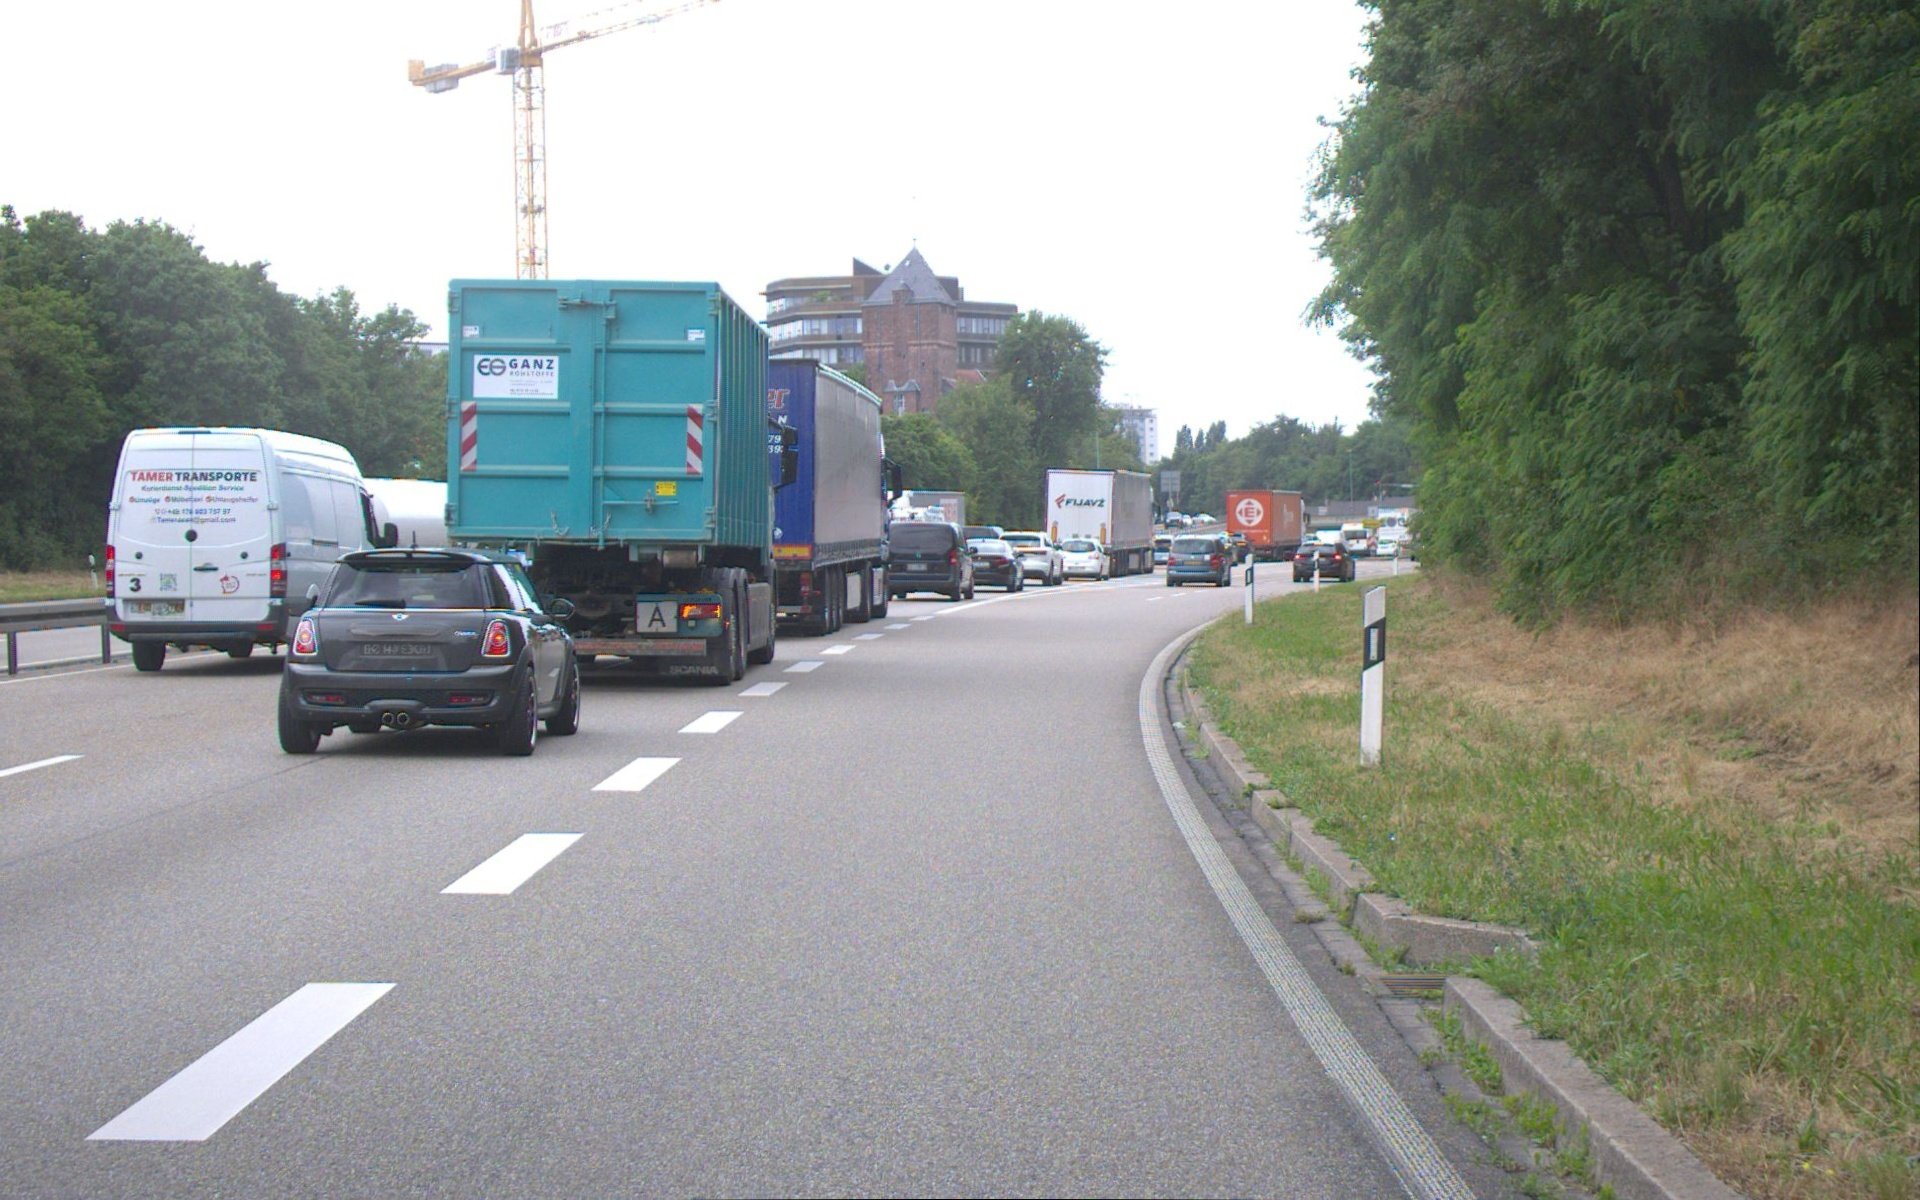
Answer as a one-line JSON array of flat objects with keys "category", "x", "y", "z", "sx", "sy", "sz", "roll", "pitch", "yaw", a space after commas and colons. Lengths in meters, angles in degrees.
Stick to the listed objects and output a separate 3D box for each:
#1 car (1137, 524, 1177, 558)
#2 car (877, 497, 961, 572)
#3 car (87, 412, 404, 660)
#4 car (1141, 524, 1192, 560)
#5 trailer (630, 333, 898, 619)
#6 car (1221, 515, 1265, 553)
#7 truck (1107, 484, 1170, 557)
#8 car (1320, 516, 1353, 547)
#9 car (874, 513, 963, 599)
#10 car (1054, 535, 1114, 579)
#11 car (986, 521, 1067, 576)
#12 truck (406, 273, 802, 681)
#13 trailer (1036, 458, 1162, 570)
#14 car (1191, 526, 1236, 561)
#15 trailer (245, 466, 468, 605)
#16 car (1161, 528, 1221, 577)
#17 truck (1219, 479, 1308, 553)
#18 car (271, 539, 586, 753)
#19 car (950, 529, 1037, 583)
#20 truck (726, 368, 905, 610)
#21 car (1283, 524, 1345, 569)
[{"category": "car", "x": 9.064, "y": -2.703, "z": 157.871, "sx": 1.531, "sy": 1.546, "sz": 3.417, "roll": 0, "pitch": 1, "yaw": 8}, {"category": "car", "x": -1.401, "y": -2.279, "z": 119.467, "sx": 1.994, "sy": 2.544, "sz": 5.360, "roll": 0, "pitch": 1, "yaw": 10}, {"category": "car", "x": -8.070, "y": -0.713, "z": 39.586, "sx": 2.222, "sy": 2.569, "sz": 6.798, "roll": 1, "pitch": 1, "yaw": 0}, {"category": "car", "x": 9.532, "y": -2.668, "z": 158.502, "sx": 1.801, "sy": 1.598, "sz": 4.256, "roll": 1, "pitch": 1, "yaw": 11}, {"category": "trailer", "x": -2.907, "y": -1.840, "z": 55.541, "sx": 2.627, "sy": 4.009, "sz": 13.462, "roll": 1, "pitch": 1, "yaw": 4}, {"category": "car", "x": 15.243, "y": -3.551, "z": 184.805, "sx": 1.994, "sy": 2.007, "sz": 3.999, "roll": 0, "pitch": 1, "yaw": 10}, {"category": "truck", "x": 10.703, "y": -4.681, "z": 205.108, "sx": 2.739, "sy": 4.124, "sz": 10.694, "roll": 1, "pitch": 1, "yaw": 8}, {"category": "car", "x": 24.887, "y": -4.516, "z": 227.035, "sx": 1.615, "sy": 2.007, "sz": 3.998, "roll": 0, "pitch": 1, "yaw": 14}, {"category": "car", "x": -0.986, "y": -1.068, "z": 82.976, "sx": 1.988, "sy": 1.891, "sz": 4.985, "roll": -3, "pitch": 1, "yaw": 0}, {"category": "car", "x": 4.335, "y": -1.502, "z": 119.517, "sx": 1.765, "sy": 1.473, "sz": 4.088, "roll": -1, "pitch": 1, "yaw": 6}, {"category": "car", "x": 2.116, "y": -1.641, "z": 108.267, "sx": 1.957, "sy": 1.689, "sz": 4.864, "roll": 0, "pitch": 1, "yaw": 8}, {"category": "truck", "x": -3.596, "y": -1.267, "z": 37.869, "sx": 2.929, "sy": 3.783, "sz": 11.331, "roll": -1, "pitch": 1, "yaw": 1}, {"category": "trailer", "x": 5.478, "y": -3.219, "z": 132.409, "sx": 3.300, "sy": 4.022, "sz": 13.093, "roll": 1, "pitch": 1, "yaw": 9}, {"category": "car", "x": 12.444, "y": -2.755, "z": 168.453, "sx": 1.718, "sy": 1.678, "sz": 3.998, "roll": 1, "pitch": 1, "yaw": 11}, {"category": "trailer", "x": -15.642, "y": -1.710, "z": 90.253, "sx": 2.470, "sy": 3.384, "sz": 12.461, "roll": 0, "pitch": 1, "yaw": 6}, {"category": "car", "x": 7.261, "y": -1.514, "z": 107.978, "sx": 1.825, "sy": 1.477, "sz": 4.000, "roll": -1, "pitch": 1, "yaw": 4}, {"category": "truck", "x": 17.462, "y": -4.813, "z": 196.743, "sx": 3.491, "sy": 4.059, "sz": 13.585, "roll": 0, "pitch": 1, "yaw": 12}, {"category": "car", "x": -3.761, "y": 0.278, "z": 24.869, "sx": 1.747, "sy": 1.417, "sz": 3.664, "roll": 0, "pitch": 1, "yaw": -1}, {"category": "car", "x": 0.961, "y": -1.247, "z": 95.697, "sx": 1.848, "sy": 1.455, "sz": 4.830, "roll": 0, "pitch": 1, "yaw": 8}, {"category": "truck", "x": -2.494, "y": -1.911, "z": 61.142, "sx": 2.561, "sy": 4.029, "sz": 6.589, "roll": 1, "pitch": 1, "yaw": 2}, {"category": "car", "x": 12.232, "y": -1.857, "z": 118.577, "sx": 1.826, "sy": 1.477, "sz": 3.999, "roll": 0, "pitch": 1, "yaw": 10}]
